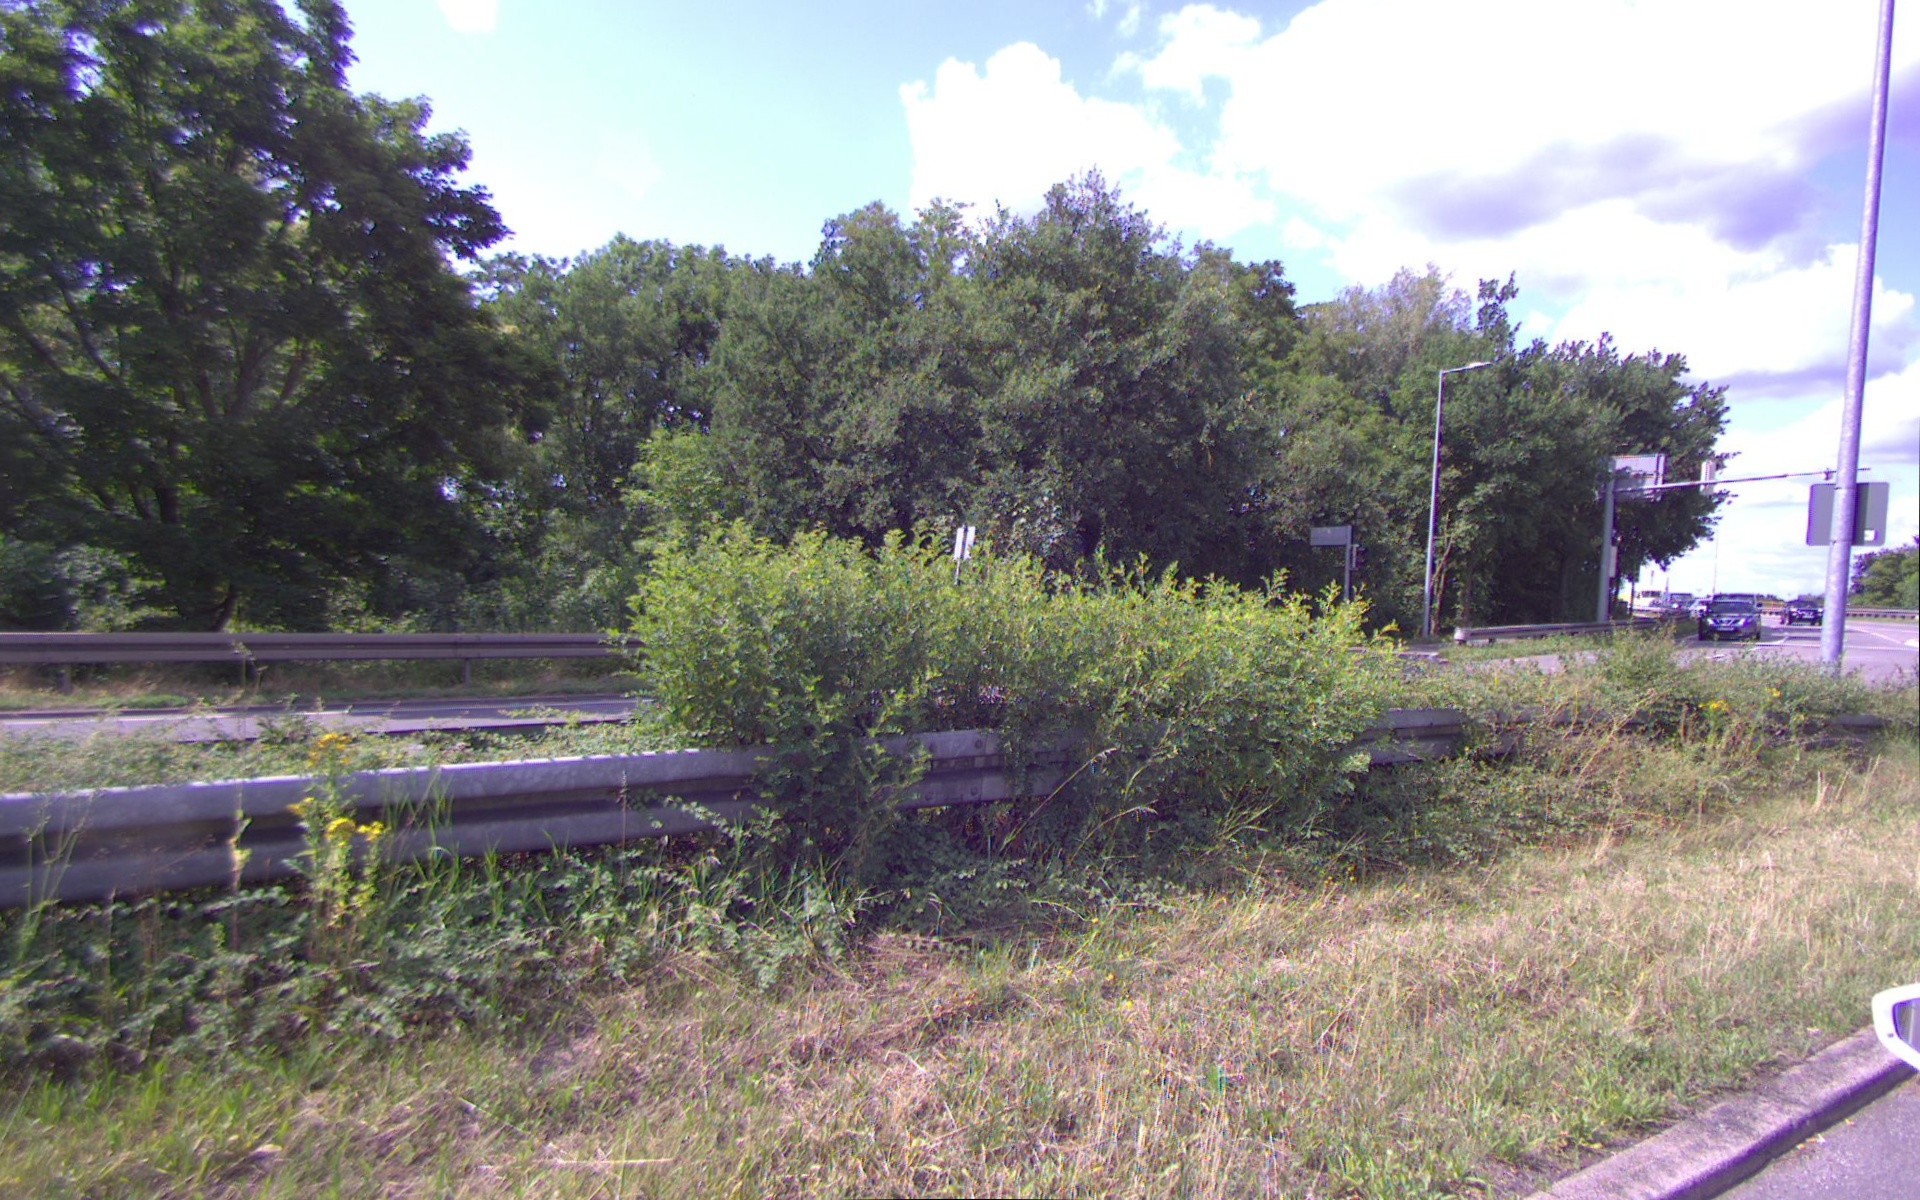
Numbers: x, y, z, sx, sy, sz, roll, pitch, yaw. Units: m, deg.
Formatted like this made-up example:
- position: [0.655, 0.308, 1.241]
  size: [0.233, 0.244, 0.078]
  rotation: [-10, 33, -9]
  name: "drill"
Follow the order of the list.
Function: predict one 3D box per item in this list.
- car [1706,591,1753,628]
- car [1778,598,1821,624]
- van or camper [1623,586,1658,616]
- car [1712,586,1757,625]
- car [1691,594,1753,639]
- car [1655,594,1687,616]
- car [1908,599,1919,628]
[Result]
- position: [39.960, 0.484, 52.129]
  size: [1.820, 1.826, 4.307]
  rotation: [2, 1, 39]
  name: "car"
- position: [51.634, 0.656, 61.840]
  size: [1.708, 1.516, 4.033]
  rotation: [2, 1, 36]
  name: "car"
- position: [64.696, 0.059, 95.526]
  size: [1.963, 2.719, 6.852]
  rotation: [2, 1, 28]
  name: "van or camper"
- position: [44.866, 0.334, 58.263]
  size: [1.819, 2.128, 4.311]
  rotation: [2, 1, 36]
  name: "car"
- position: [30.703, 0.683, 40.414]
  size: [1.816, 1.639, 3.982]
  rotation: [2, 0, 39]
  name: "car"
- position: [58.035, 0.400, 82.080]
  size: [1.817, 1.728, 4.316]
  rotation: [2, 1, 32]
  name: "car"
- position: [51.595, 0.770, 52.277]
  size: [1.962, 1.516, 4.116]
  rotation: [2, 1, 24]
  name: "car"
